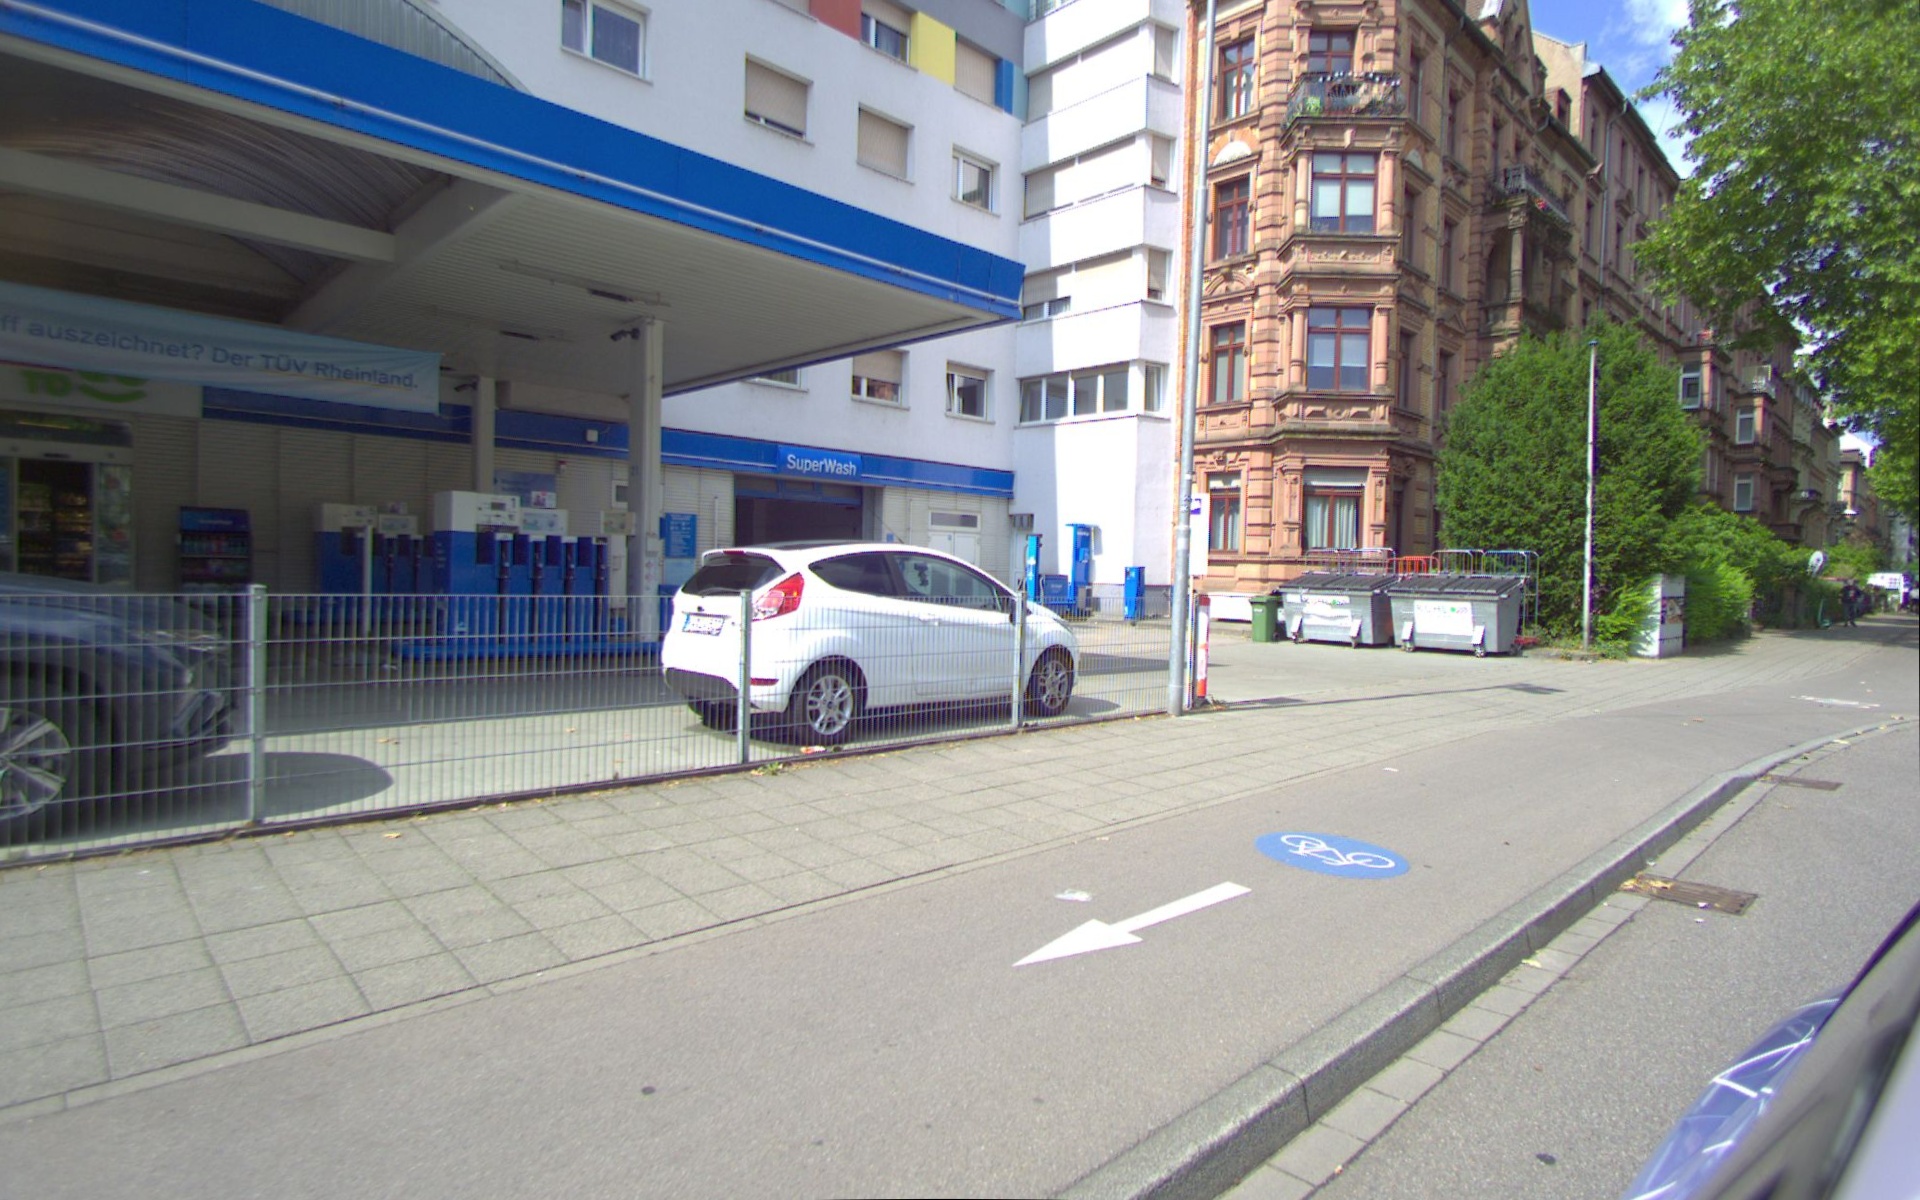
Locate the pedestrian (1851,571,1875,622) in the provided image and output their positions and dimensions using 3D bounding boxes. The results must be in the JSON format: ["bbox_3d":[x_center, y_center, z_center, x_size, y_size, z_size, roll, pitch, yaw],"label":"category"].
[{"bbox_3d":[33.180,-0.136,37.194,0.620,1.808,0.565,0,2,-44],"label":"pedestrian"}]

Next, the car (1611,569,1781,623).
[{"bbox_3d":[24.445,-0.189,33.730,1.909,1.487,4.241,-1,4,-43],"label":"car"}]

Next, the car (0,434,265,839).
[{"bbox_3d":[-5.450,0.126,3.786,4.505,1.622,1.808,0,2,-43],"label":"car"}]

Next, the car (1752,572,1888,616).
[{"bbox_3d":[40.401,-0.332,47.725,4.714,1.804,1.977,4,3,39],"label":"car"}]

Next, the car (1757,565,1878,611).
[{"bbox_3d":[44.071,-0.652,52.078,1.950,1.962,4.405,0,5,-43],"label":"car"}]

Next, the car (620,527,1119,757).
[{"bbox_3d":[-0.590,0.230,8.537,3.935,1.473,1.807,0,2,-44],"label":"car"}]
